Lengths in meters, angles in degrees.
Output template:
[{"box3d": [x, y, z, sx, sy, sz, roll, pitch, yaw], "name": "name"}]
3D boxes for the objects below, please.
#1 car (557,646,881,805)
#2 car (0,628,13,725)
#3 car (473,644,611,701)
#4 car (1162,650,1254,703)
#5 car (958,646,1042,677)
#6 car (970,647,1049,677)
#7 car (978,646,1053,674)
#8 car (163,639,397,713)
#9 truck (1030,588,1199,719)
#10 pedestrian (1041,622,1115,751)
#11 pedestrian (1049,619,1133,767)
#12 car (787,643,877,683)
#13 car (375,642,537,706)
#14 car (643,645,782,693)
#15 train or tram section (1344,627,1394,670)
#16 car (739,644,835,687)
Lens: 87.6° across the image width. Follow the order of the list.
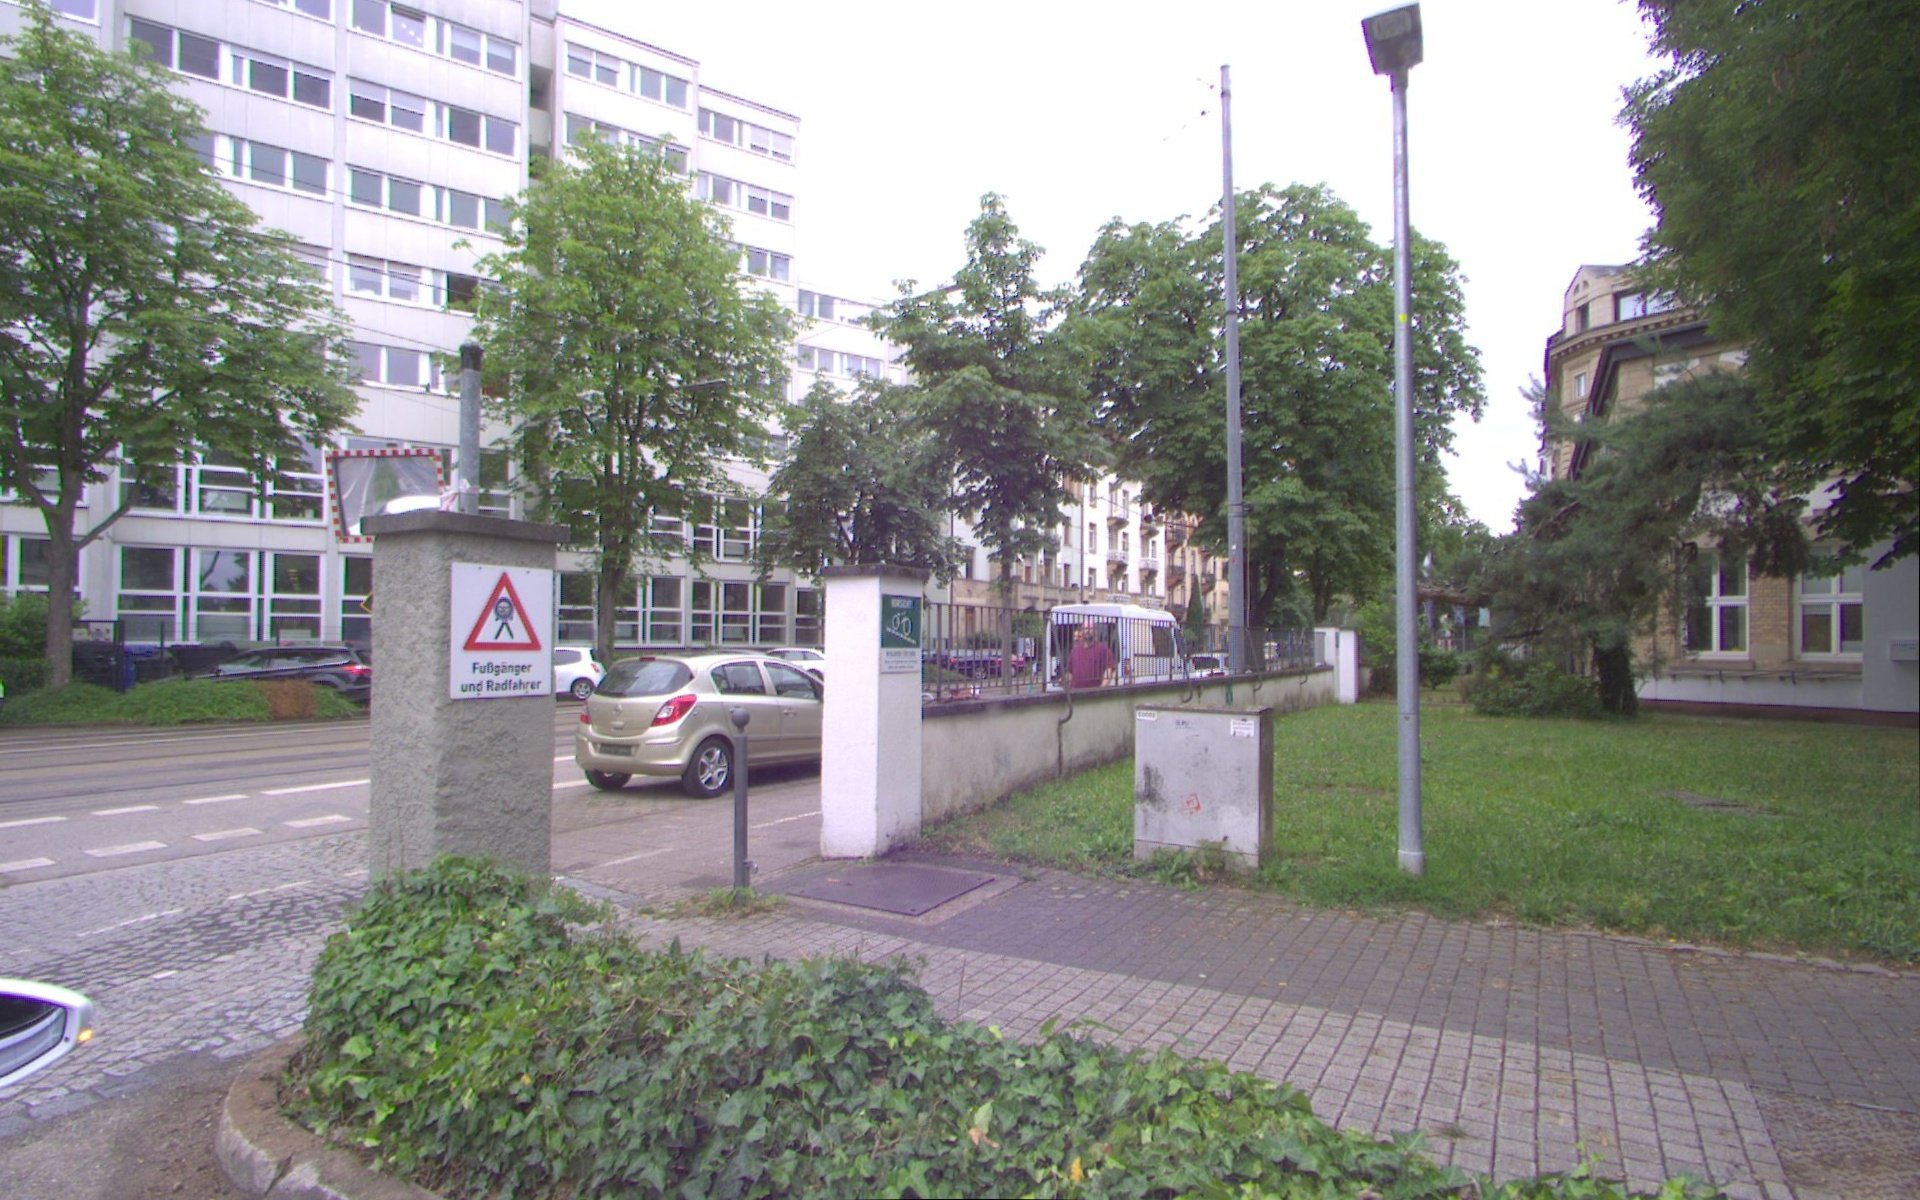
[{"box3d": [-2.613, 1.300, 11.617, 1.641, 1.519, 3.579, -1, -3, 30], "name": "car"}, {"box3d": [-17.795, 1.275, 16.135, 3.344, 1.638, 1.556, 0, -2, -12], "name": "car"}, {"box3d": [-11.453, 1.967, 27.632, 3.328, 1.492, 1.415, 0, -2, -14], "name": "car"}, {"box3d": [7.162, 2.122, 28.648, 1.783, 1.371, 3.799, -1, -2, 27], "name": "car"}, {"box3d": [1.889, 2.917, 47.718, 3.723, 1.460, 1.692, 1, -2, -9], "name": "car"}, {"box3d": [2.469, 3.113, 50.583, 3.723, 1.460, 1.692, 1, -2, -9], "name": "car"}, {"box3d": [2.921, 3.179, 52.995, 3.723, 1.460, 1.692, 1, -2, -9], "name": "car"}, {"box3d": [-14.732, 1.615, 21.939, 3.885, 1.492, 1.671, 0, -2, -18], "name": "car"}, {"box3d": [3.601, 1.175, 22.427, 2.137, 2.578, 4.908, -1, -3, 30], "name": "truck"}, {"box3d": [1.680, 1.199, 14.148, 0.789, 1.740, 0.953, -1, -2, 23], "name": "pedestrian"}, {"box3d": [1.627, 1.112, 12.340, 0.795, 1.740, 0.953, 0, -2, 24], "name": "pedestrian"}, {"box3d": [-4.982, 2.439, 38.946, 3.328, 1.492, 1.415, 1, -2, -14], "name": "car"}, {"box3d": [-12.355, 1.787, 24.737, 3.328, 1.492, 1.415, 0, -2, -14], "name": "car"}, {"box3d": [-8.248, 2.302, 33.389, 4.420, 1.491, 1.416, 1, -4, -18], "name": "car"}, {"box3d": [37.609, 4.342, 91.731, 2.628, 3.660, 12.406, -1, -2, 30], "name": "train or tram section"}, {"box3d": [-6.276, 2.353, 36.298, 3.328, 1.492, 1.416, 1, -2, -14], "name": "car"}]
